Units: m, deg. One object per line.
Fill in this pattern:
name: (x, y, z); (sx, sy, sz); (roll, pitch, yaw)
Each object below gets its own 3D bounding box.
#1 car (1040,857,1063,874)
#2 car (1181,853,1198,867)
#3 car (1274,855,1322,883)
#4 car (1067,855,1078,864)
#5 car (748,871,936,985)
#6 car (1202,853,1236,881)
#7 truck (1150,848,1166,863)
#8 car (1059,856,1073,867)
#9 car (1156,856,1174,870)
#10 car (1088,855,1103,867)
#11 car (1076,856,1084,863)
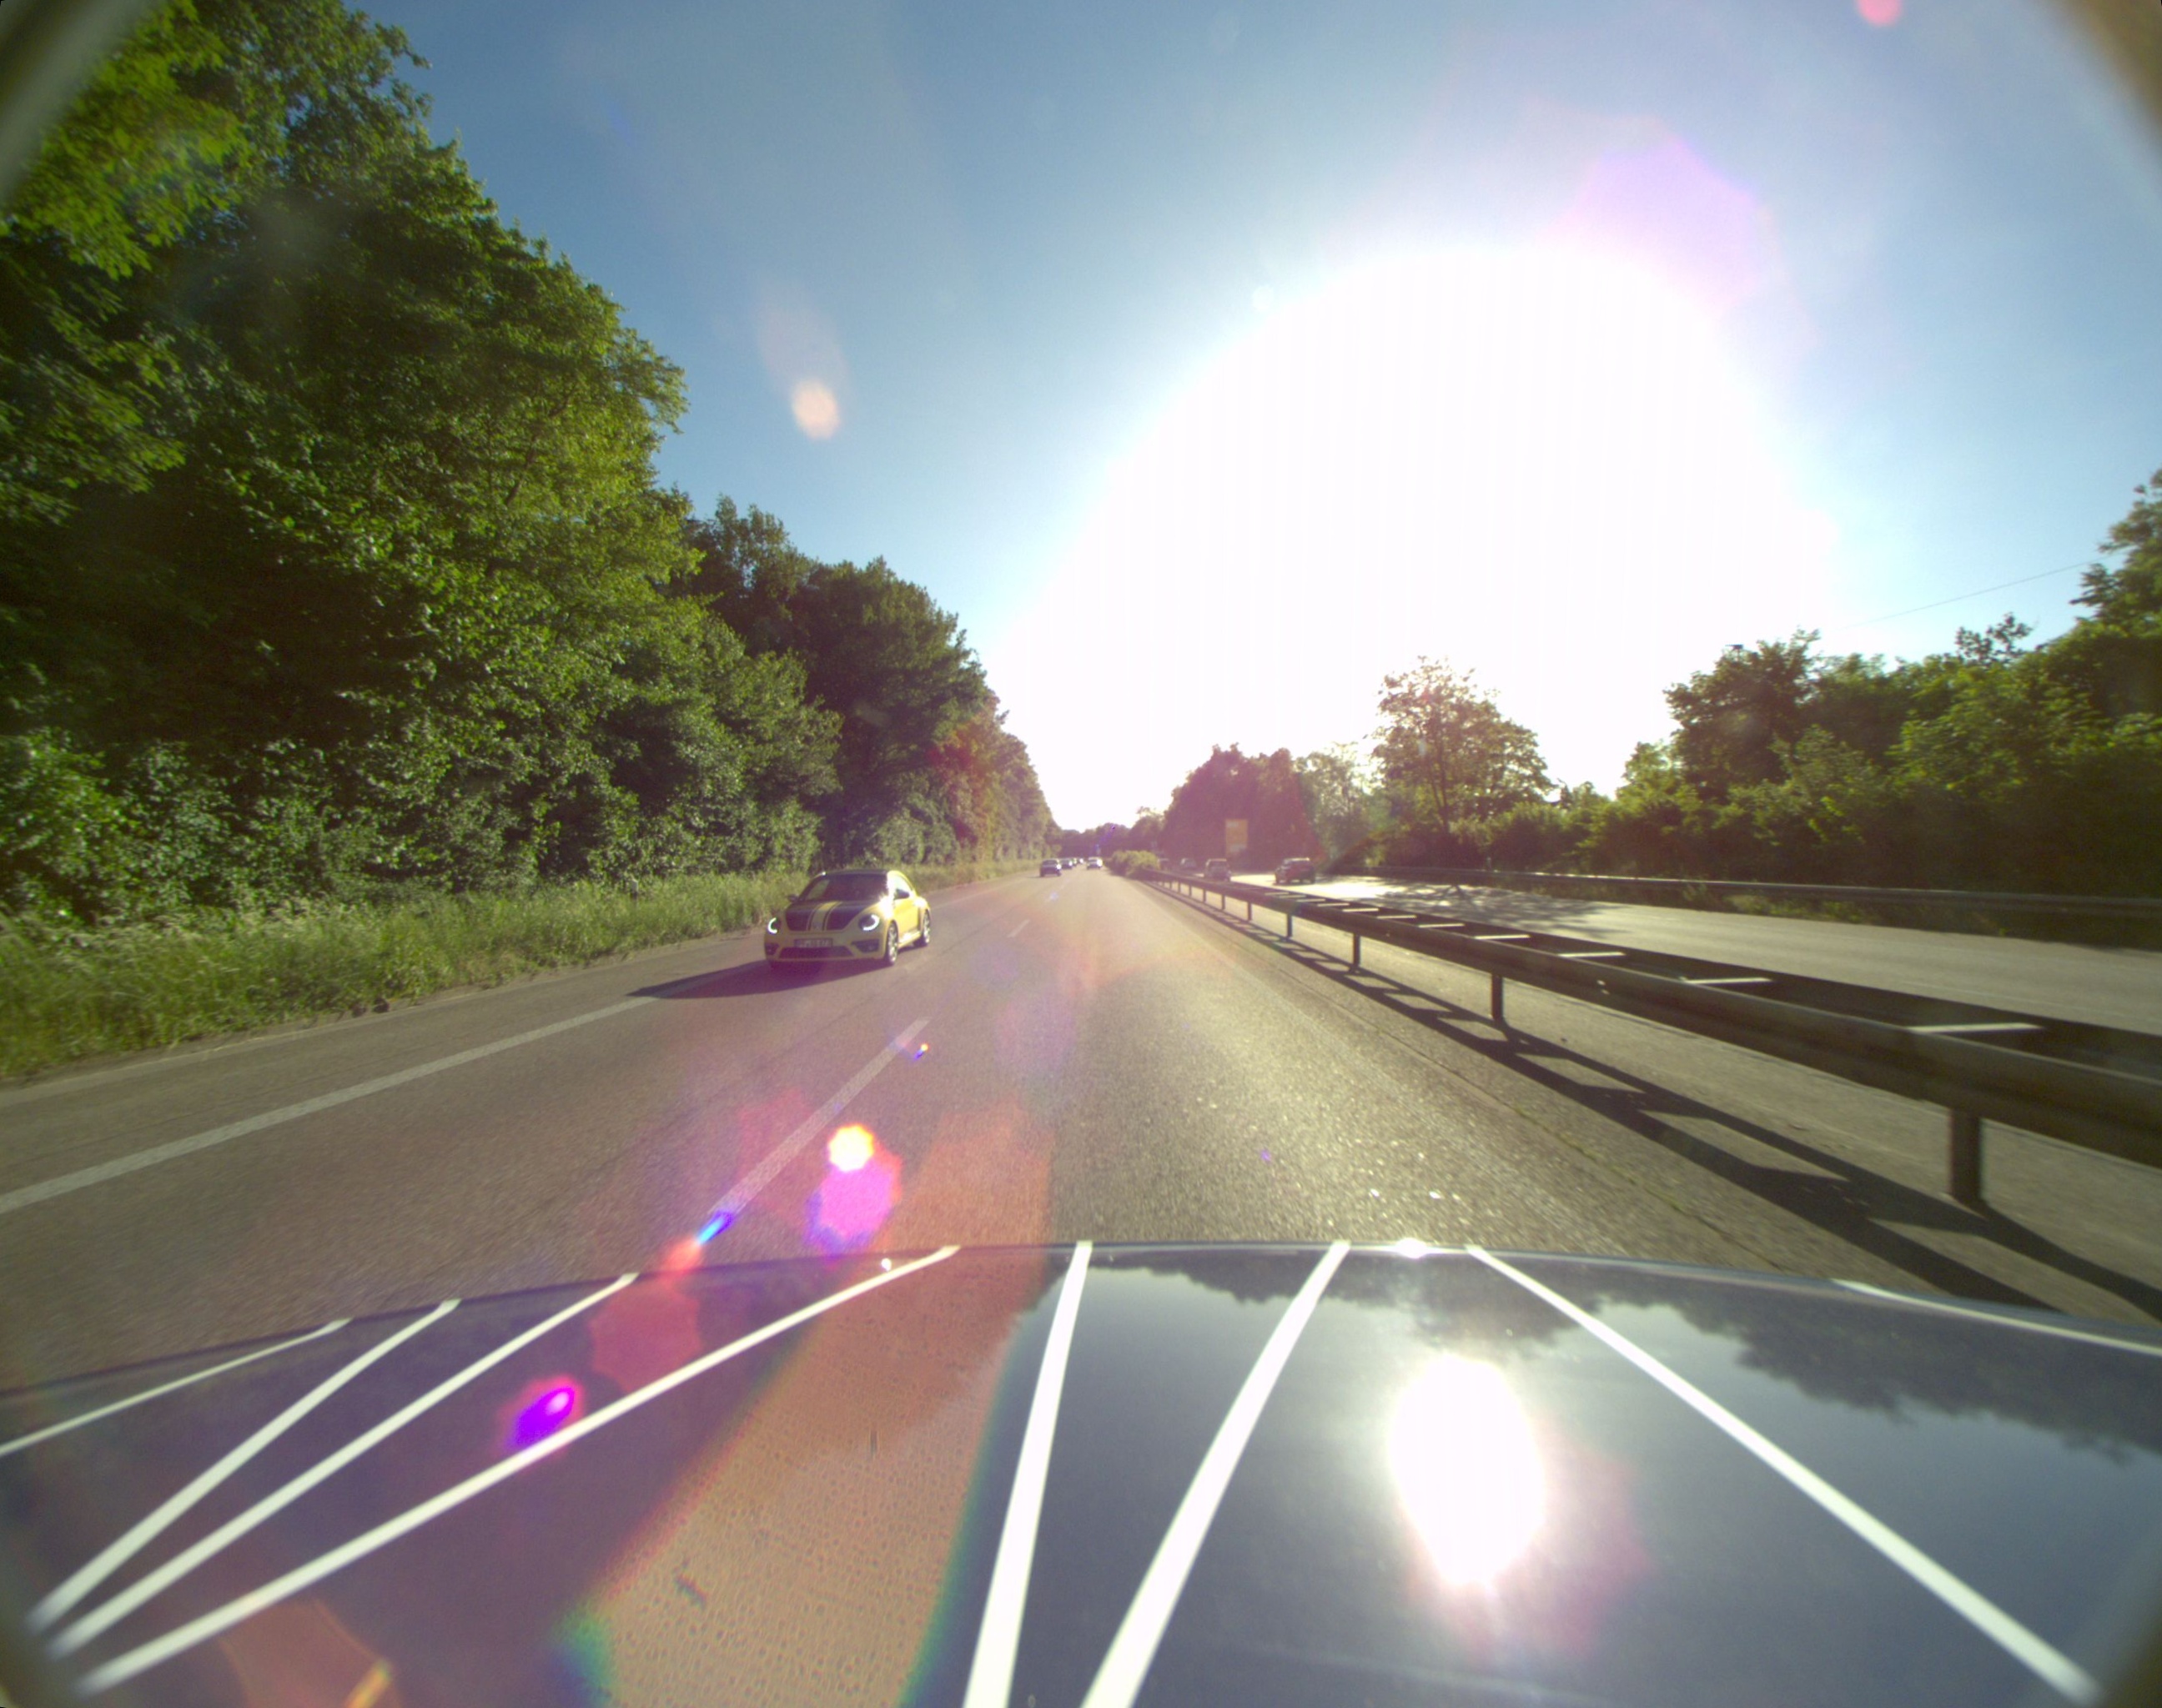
car: (-2.567, 0.989, 67.431); (1.794, 1.440, 3.877); (-2, 0, 0)
car: (13.673, 0.744, 95.741); (1.642, 1.540, 3.793); (-2, 1, 1)
car: (12.945, 0.847, 45.629); (1.752, 1.486, 3.976); (-2, 1, 1)
car: (-1.559, 0.983, 134.329); (1.794, 1.440, 3.877); (-2, 0, 0)
car: (-3.707, 1.074, 12.545); (1.794, 1.440, 3.877); (-2, 0, 0)
car: (9.403, 0.850, 51.991); (1.642, 1.694, 3.793); (-2, 1, 1)
truck: (13.946, 0.210, 137.783); (2.167, 2.570, 6.943); (-2, 1, 1)
car: (-2.095, 0.973, 104.374); (1.794, 1.440, 3.877); (-2, 0, 0)
car: (9.654, 1.060, 87.394); (1.642, 1.486, 3.793); (-2, 1, 1)
car: (1.881, 0.872, 97.425); (1.890, 1.440, 3.878); (-2, 0, 1)
car: (-0.274, 1.363, 190.083); (1.794, 1.440, 3.877); (-2, 0, 0)
